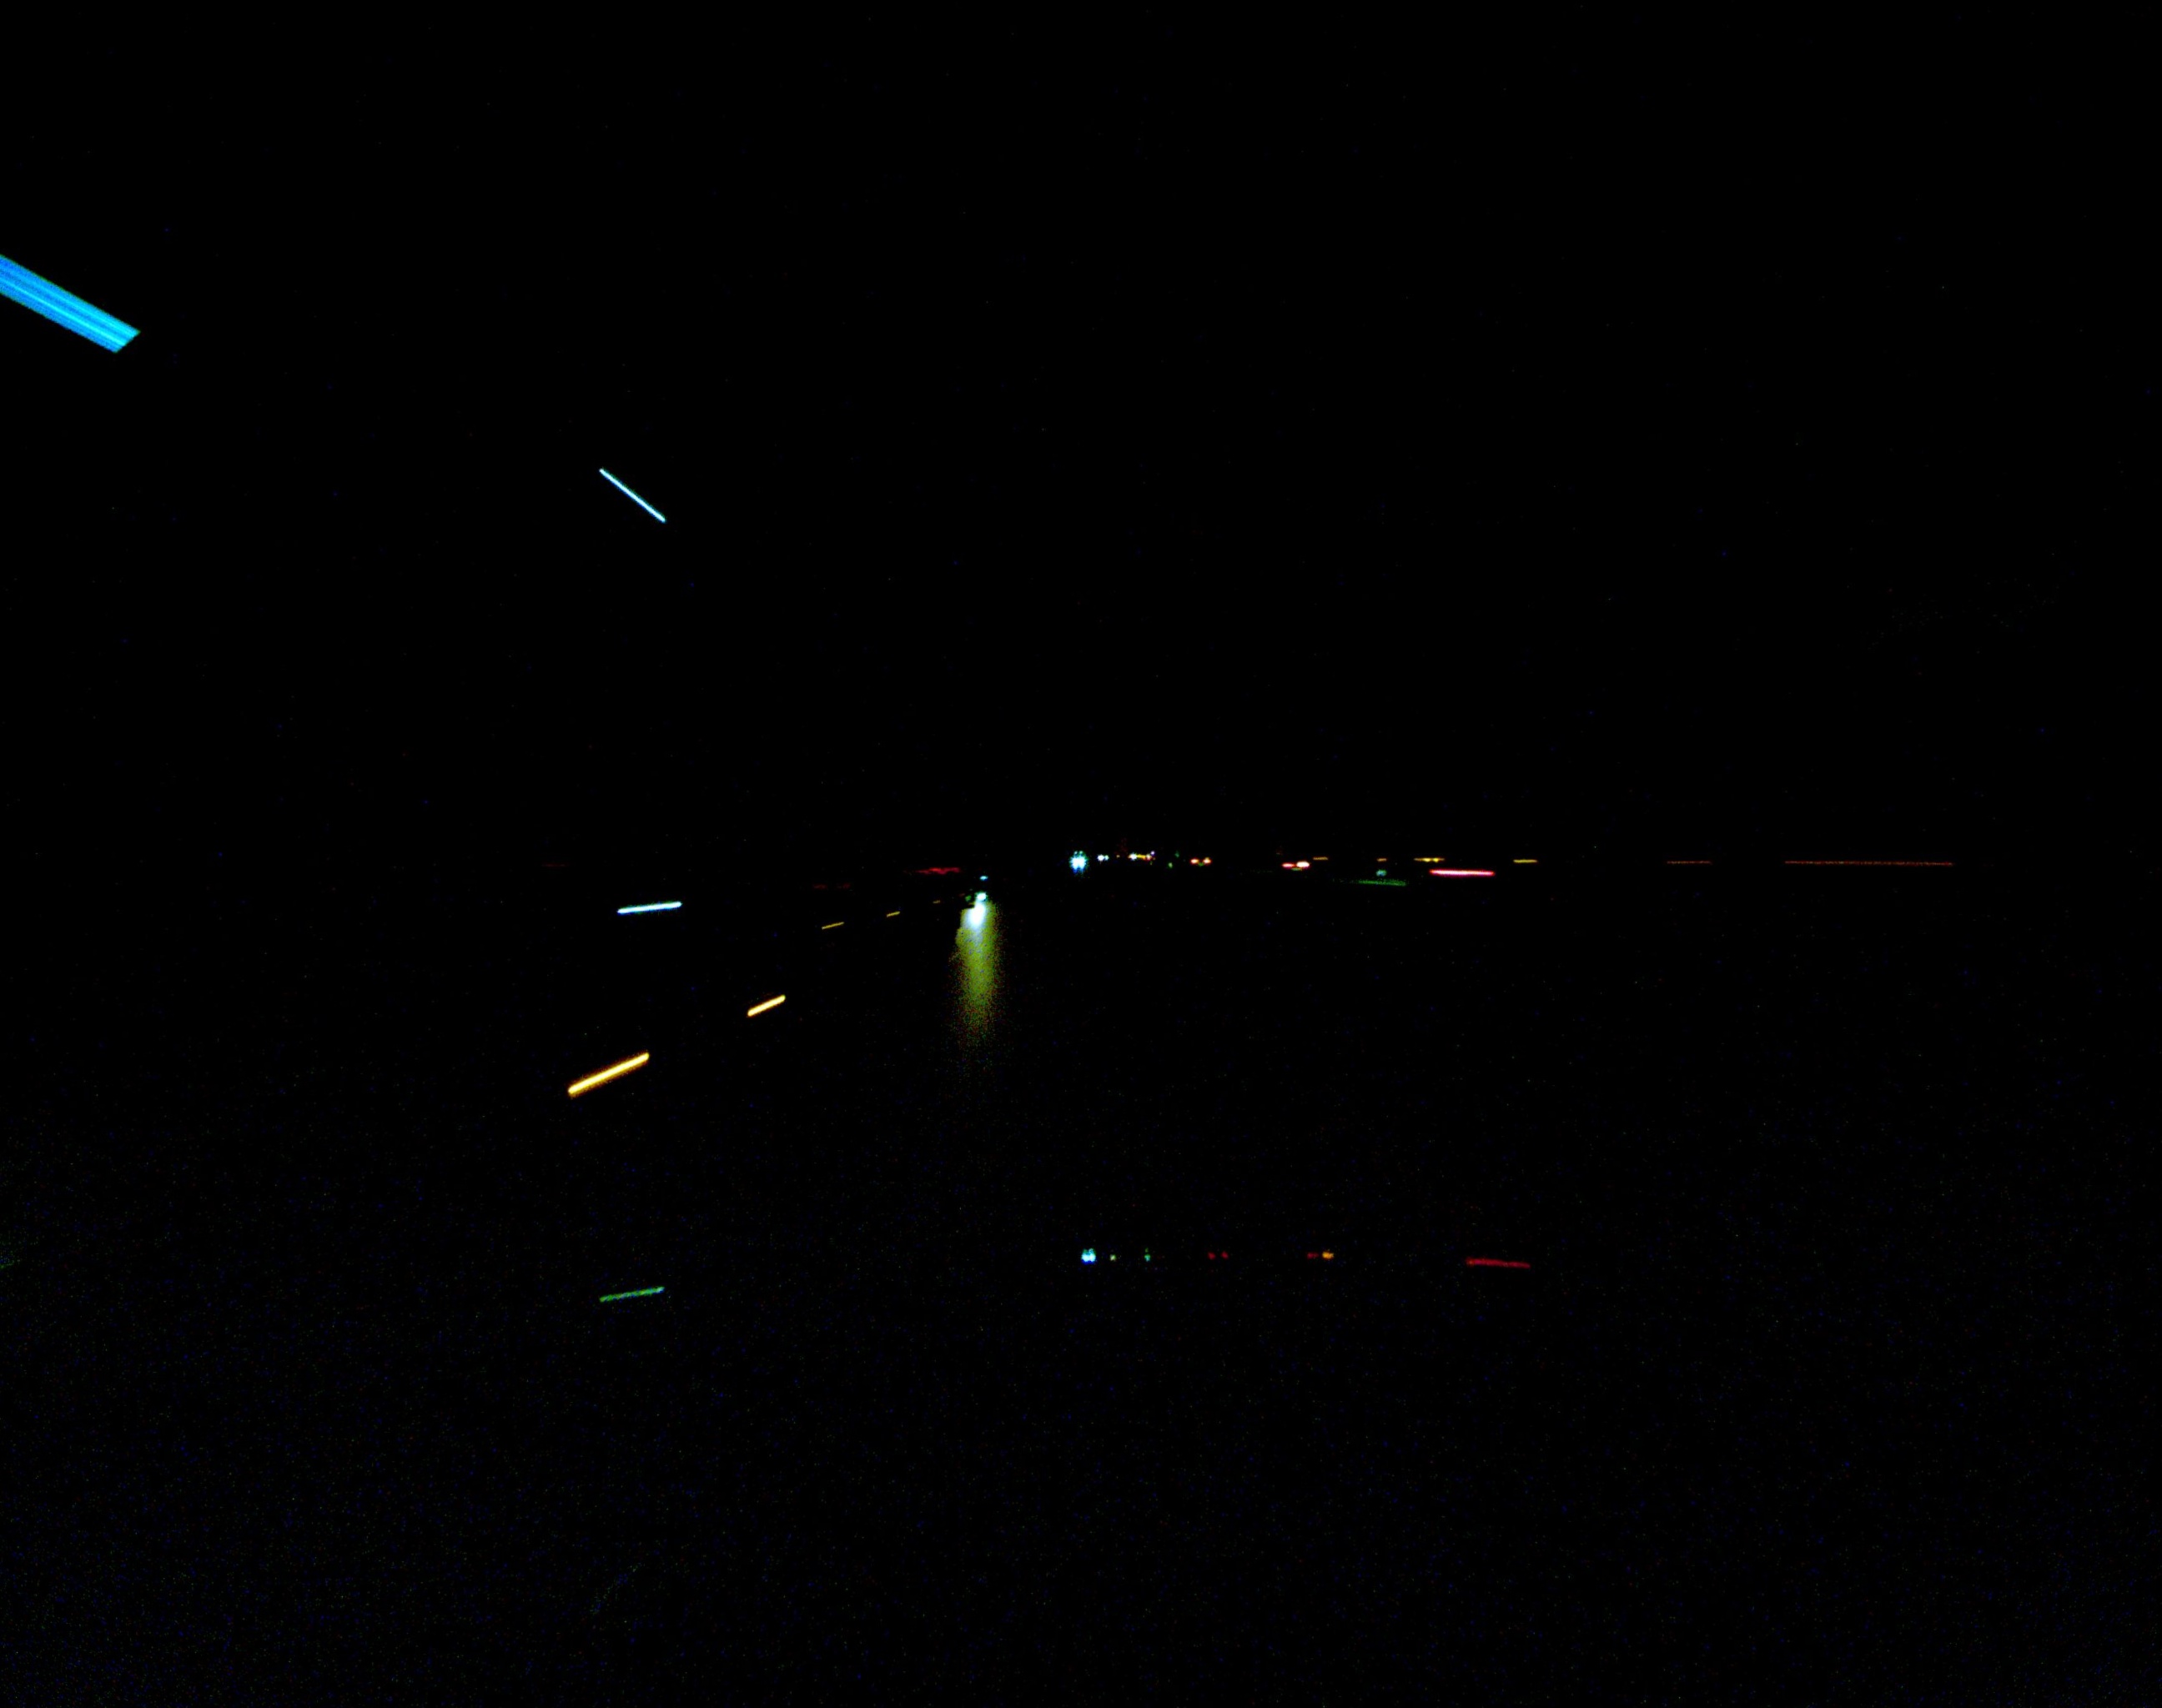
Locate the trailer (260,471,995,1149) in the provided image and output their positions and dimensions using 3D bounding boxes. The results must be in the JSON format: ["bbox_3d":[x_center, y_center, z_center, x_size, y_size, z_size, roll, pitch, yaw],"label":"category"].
[{"bbox_3d":[-3.649,-0.281,11.592,2.749,4.182,13.510,-3,0,1],"label":"trailer"}]

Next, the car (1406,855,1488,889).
[{"bbox_3d":[17.006,0.790,35.545,1.754,1.470,4.727,0,0,3],"label":"car"}]

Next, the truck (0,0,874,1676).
[{"bbox_3d":[-3.728,-0.257,4.868,2.668,4.182,6.722,-3,0,1],"label":"truck"}]

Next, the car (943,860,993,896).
[{"bbox_3d":[-5.153,1.061,35.084,1.826,1.457,4.246,-3,0,-3],"label":"car"}]

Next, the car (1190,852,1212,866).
[{"bbox_3d":[13.051,0.534,83.050,1.754,1.470,4.763,0,0,1],"label":"car"}]

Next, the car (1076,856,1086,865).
[{"bbox_3d":[-0.010,1.434,177.042,2.267,1.842,5.403,-3,0,0],"label":"car"}]

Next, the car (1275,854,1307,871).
[{"bbox_3d":[18.562,0.743,67.416,1.754,1.470,4.482,0,0,2],"label":"car"}]
